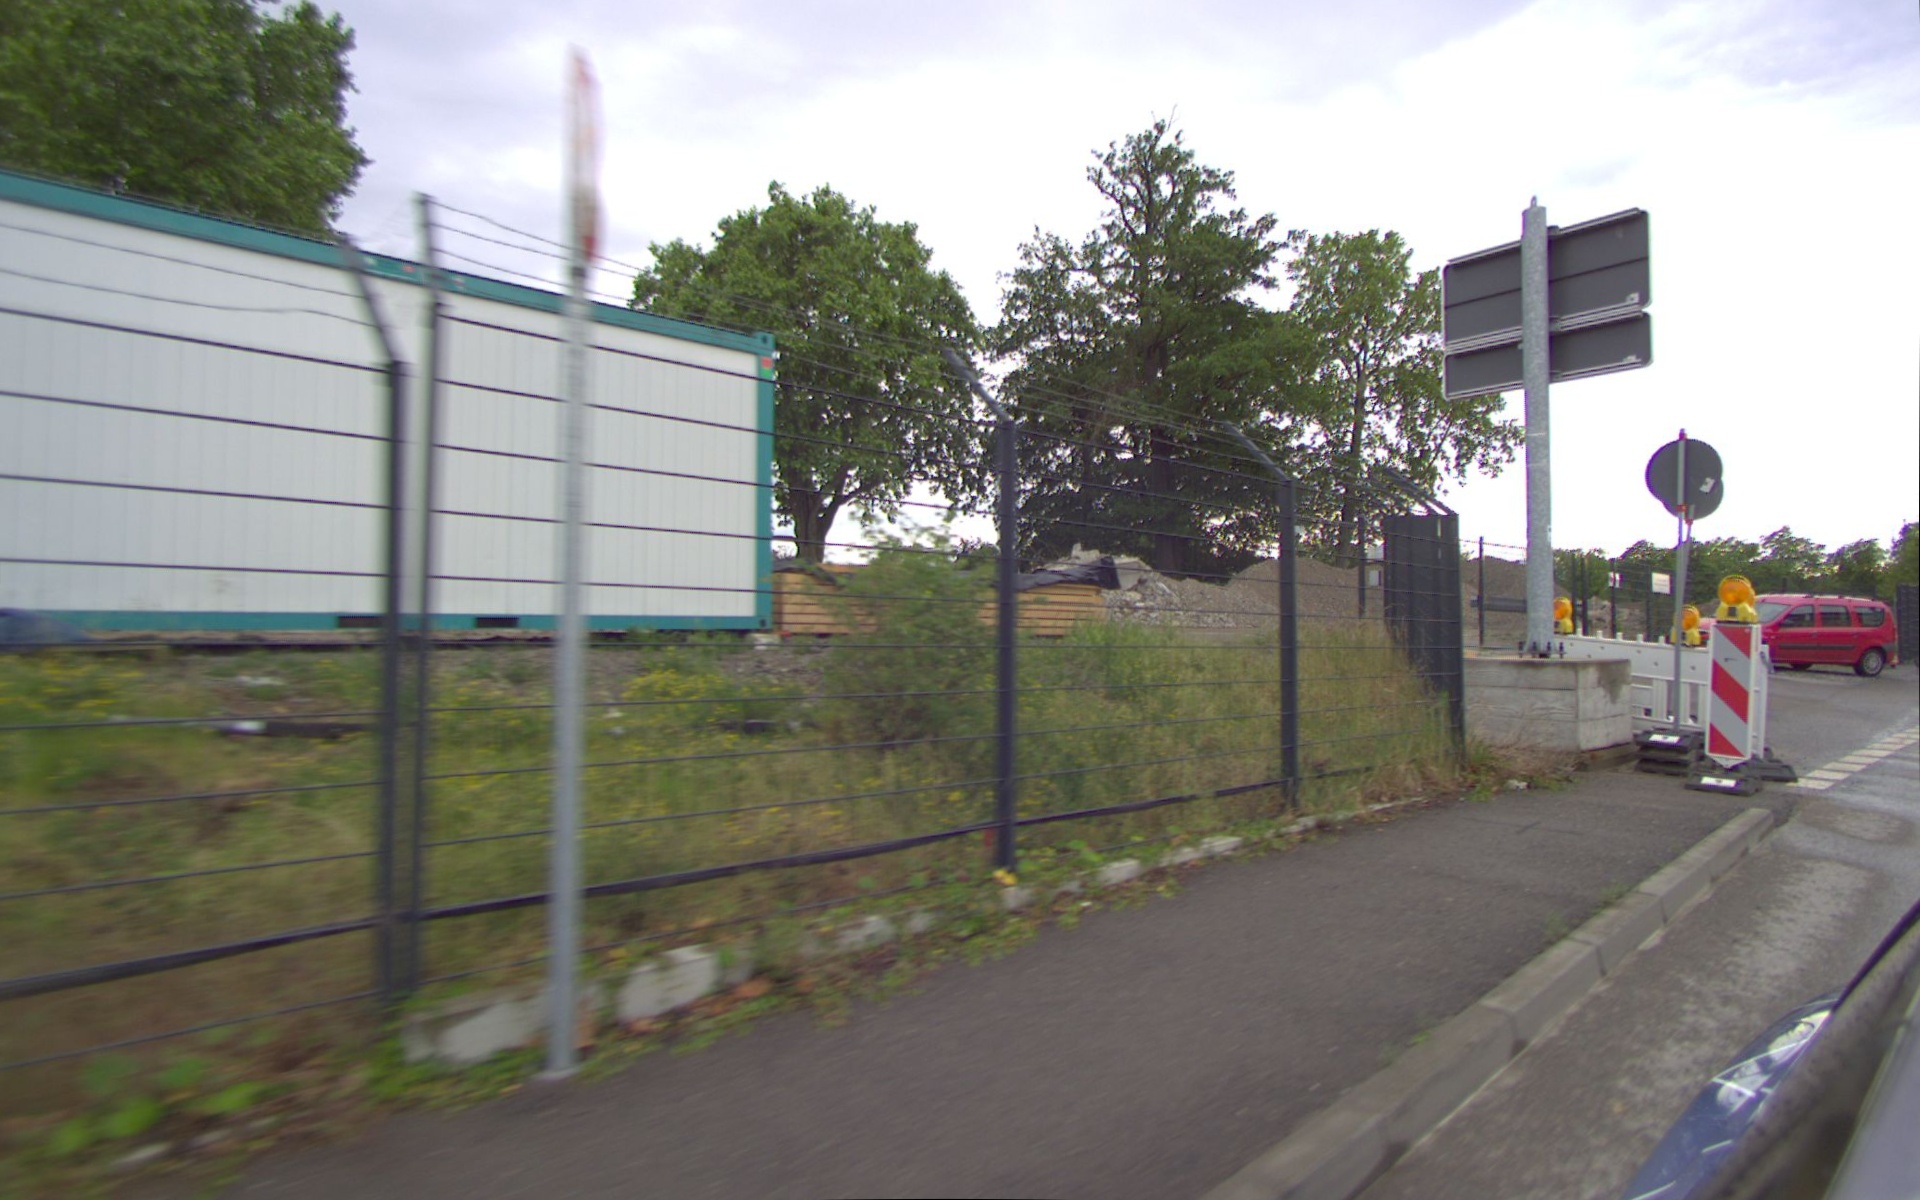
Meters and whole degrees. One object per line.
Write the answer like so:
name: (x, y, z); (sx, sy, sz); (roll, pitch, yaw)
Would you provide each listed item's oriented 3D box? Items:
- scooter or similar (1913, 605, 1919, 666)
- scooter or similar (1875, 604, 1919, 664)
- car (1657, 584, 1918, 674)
scooter or similar: (22.557, 0.802, 23.178); (1.875, 1.368, 0.617); (0, -1, -33)
scooter or similar: (22.541, 0.791, 24.114); (1.875, 1.368, 0.617); (0, -1, -33)
car: (17.573, 0.584, 21.595); (4.318, 1.817, 1.828); (0, -1, -8)
